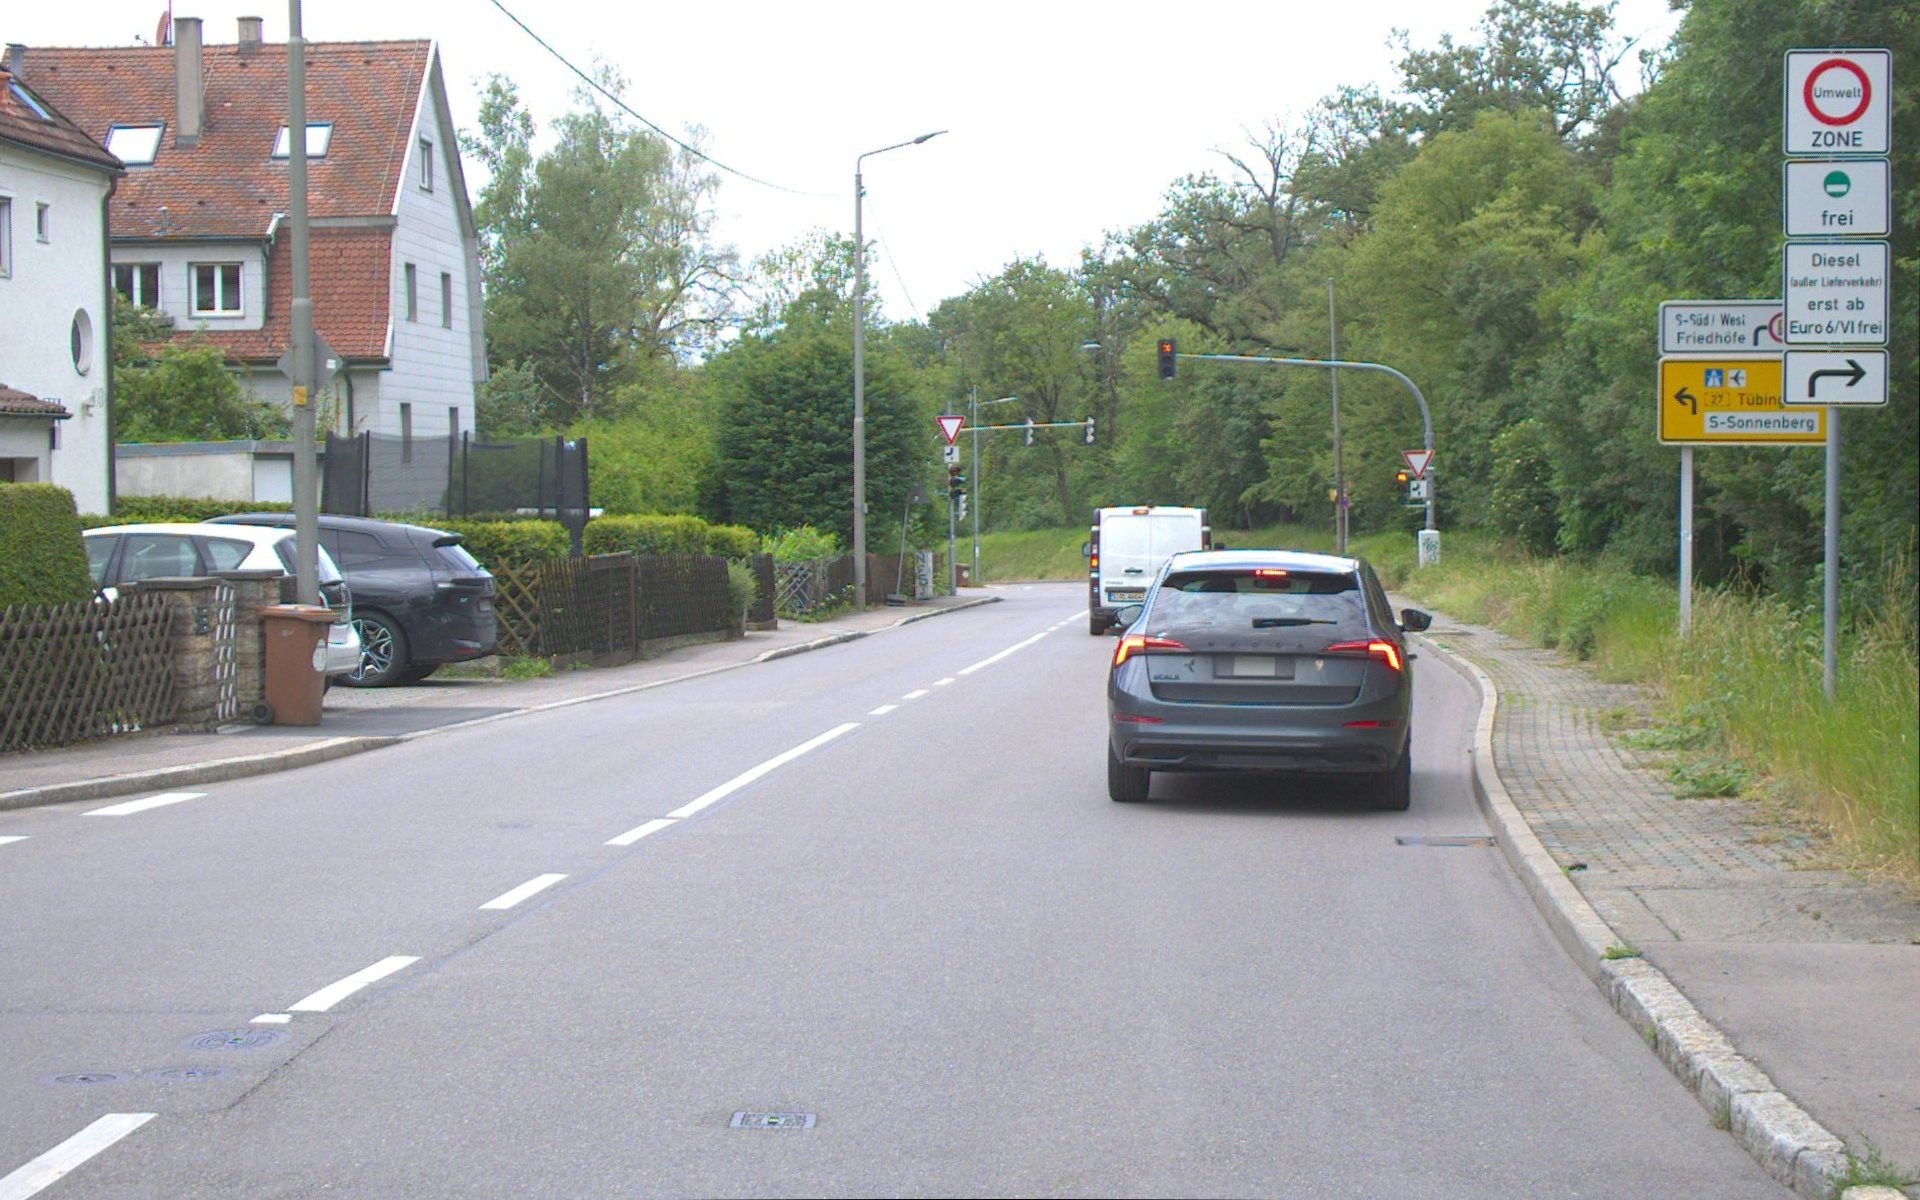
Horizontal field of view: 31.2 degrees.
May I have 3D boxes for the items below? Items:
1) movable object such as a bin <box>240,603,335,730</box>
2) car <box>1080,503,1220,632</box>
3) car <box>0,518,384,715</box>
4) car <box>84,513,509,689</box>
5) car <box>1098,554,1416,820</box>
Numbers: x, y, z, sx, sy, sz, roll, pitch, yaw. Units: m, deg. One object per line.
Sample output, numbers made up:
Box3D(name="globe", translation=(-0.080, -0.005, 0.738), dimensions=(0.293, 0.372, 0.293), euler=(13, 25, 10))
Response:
Box3D(name="movable object such as a bin", translation=(-5.144, 0.502, 26.305), dimensions=(0.599, 0.947, 0.579), euler=(0, 1, 1))
Box3D(name="car", translation=(2.930, -0.514, 53.421), dimensions=(2.072, 1.915, 4.922), euler=(0, 1, 3))
Box3D(name="car", translation=(-7.119, 0.123, 29.600), dimensions=(3.987, 1.612, 2.000), euler=(-1, 1, -1))
Box3D(name="car", translation=(-6.638, -0.009, 34.739), dimensions=(3.986, 1.700, 1.917), euler=(-1, 1, -3))
Box3D(name="car", translation=(1.817, 0.444, 20.959), dimensions=(1.728, 1.434, 4.323), euler=(0, 1, 5))
